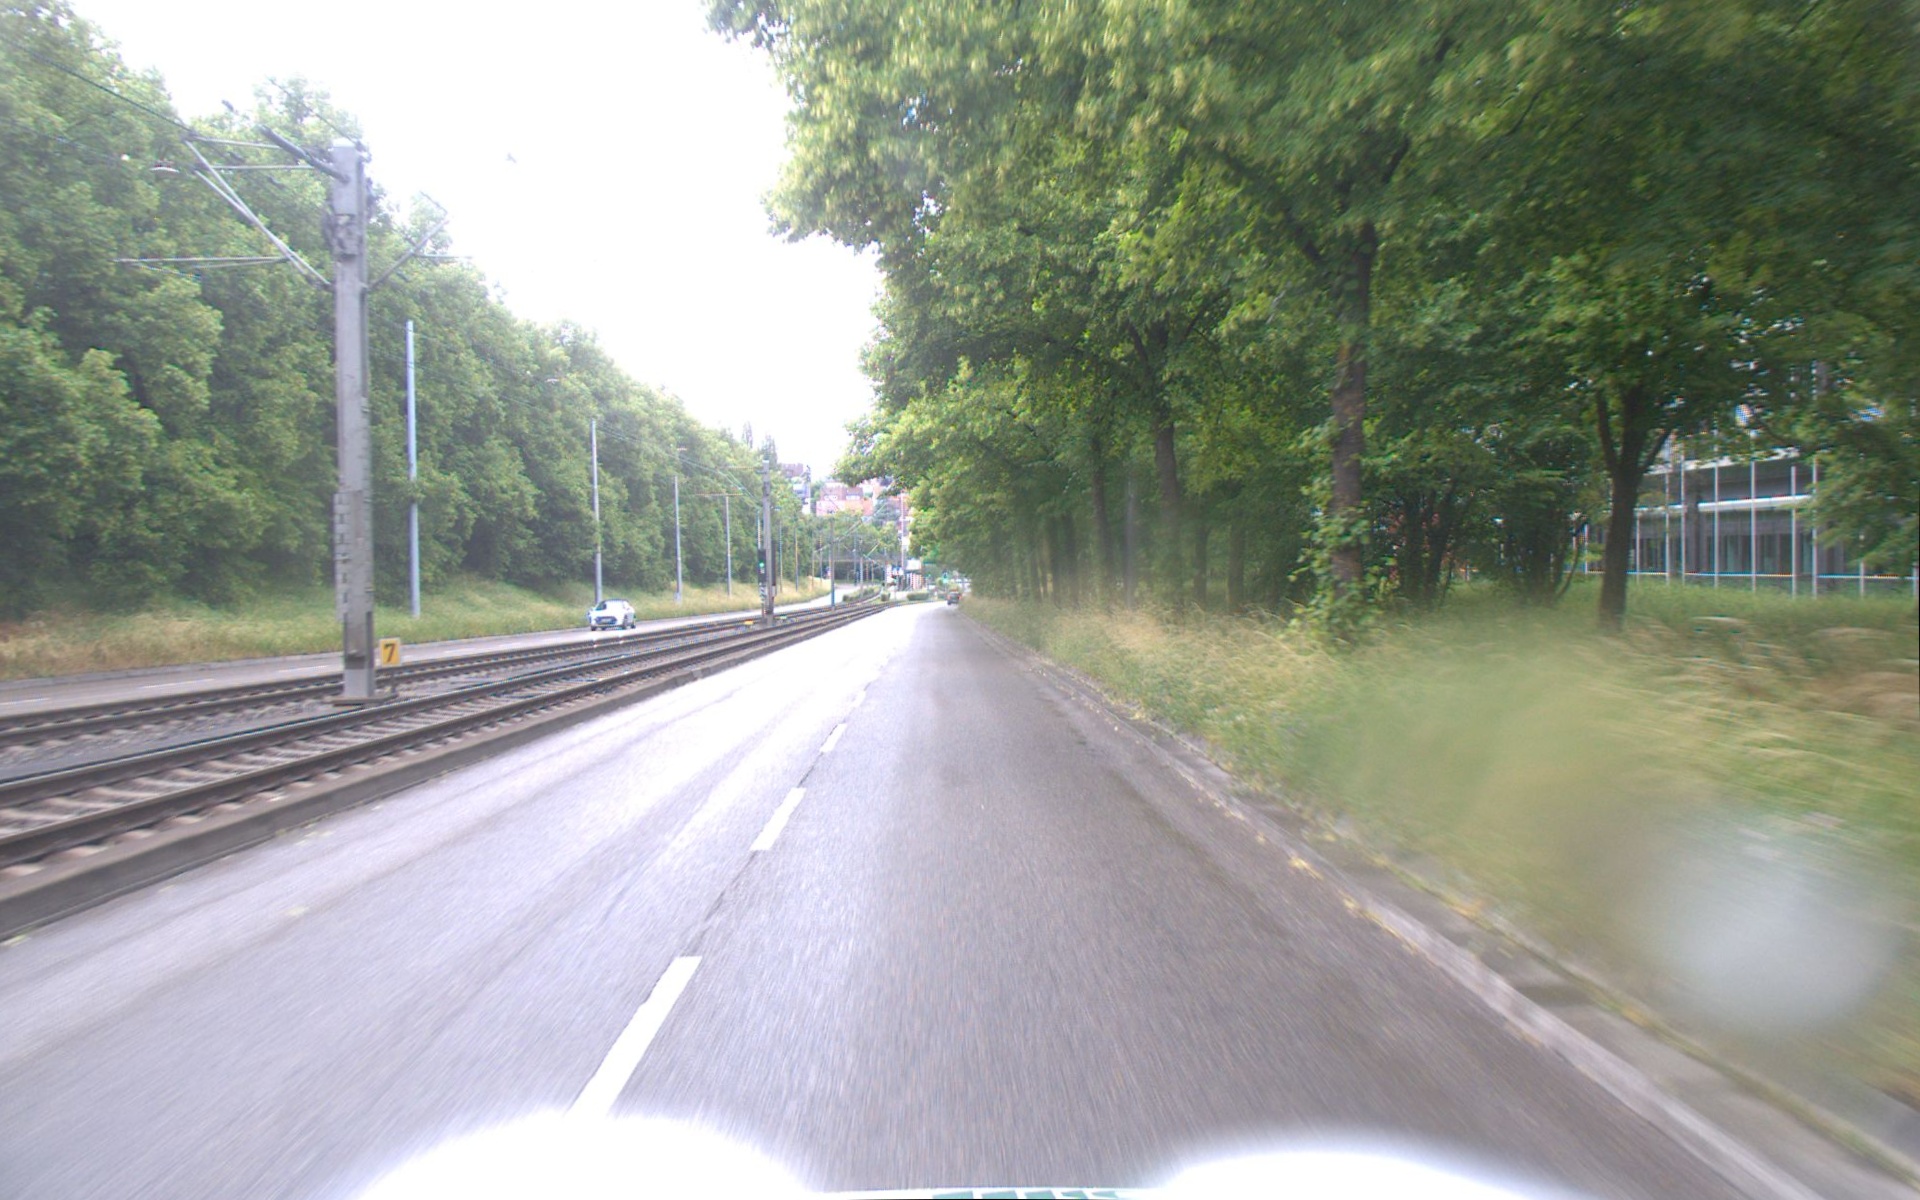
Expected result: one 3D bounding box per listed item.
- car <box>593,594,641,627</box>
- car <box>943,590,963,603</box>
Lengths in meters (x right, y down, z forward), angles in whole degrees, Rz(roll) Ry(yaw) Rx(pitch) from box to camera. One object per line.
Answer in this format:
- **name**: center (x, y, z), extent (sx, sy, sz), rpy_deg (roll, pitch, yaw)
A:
- **car**: center (-16.663, 0.493, 80.475), extent (1.446, 1.461, 3.909), rpy_deg (-3, 0, -1)
- **car**: center (-0.823, -0.373, 188.427), extent (2.149, 1.352, 3.999), rpy_deg (0, 1, -1)
